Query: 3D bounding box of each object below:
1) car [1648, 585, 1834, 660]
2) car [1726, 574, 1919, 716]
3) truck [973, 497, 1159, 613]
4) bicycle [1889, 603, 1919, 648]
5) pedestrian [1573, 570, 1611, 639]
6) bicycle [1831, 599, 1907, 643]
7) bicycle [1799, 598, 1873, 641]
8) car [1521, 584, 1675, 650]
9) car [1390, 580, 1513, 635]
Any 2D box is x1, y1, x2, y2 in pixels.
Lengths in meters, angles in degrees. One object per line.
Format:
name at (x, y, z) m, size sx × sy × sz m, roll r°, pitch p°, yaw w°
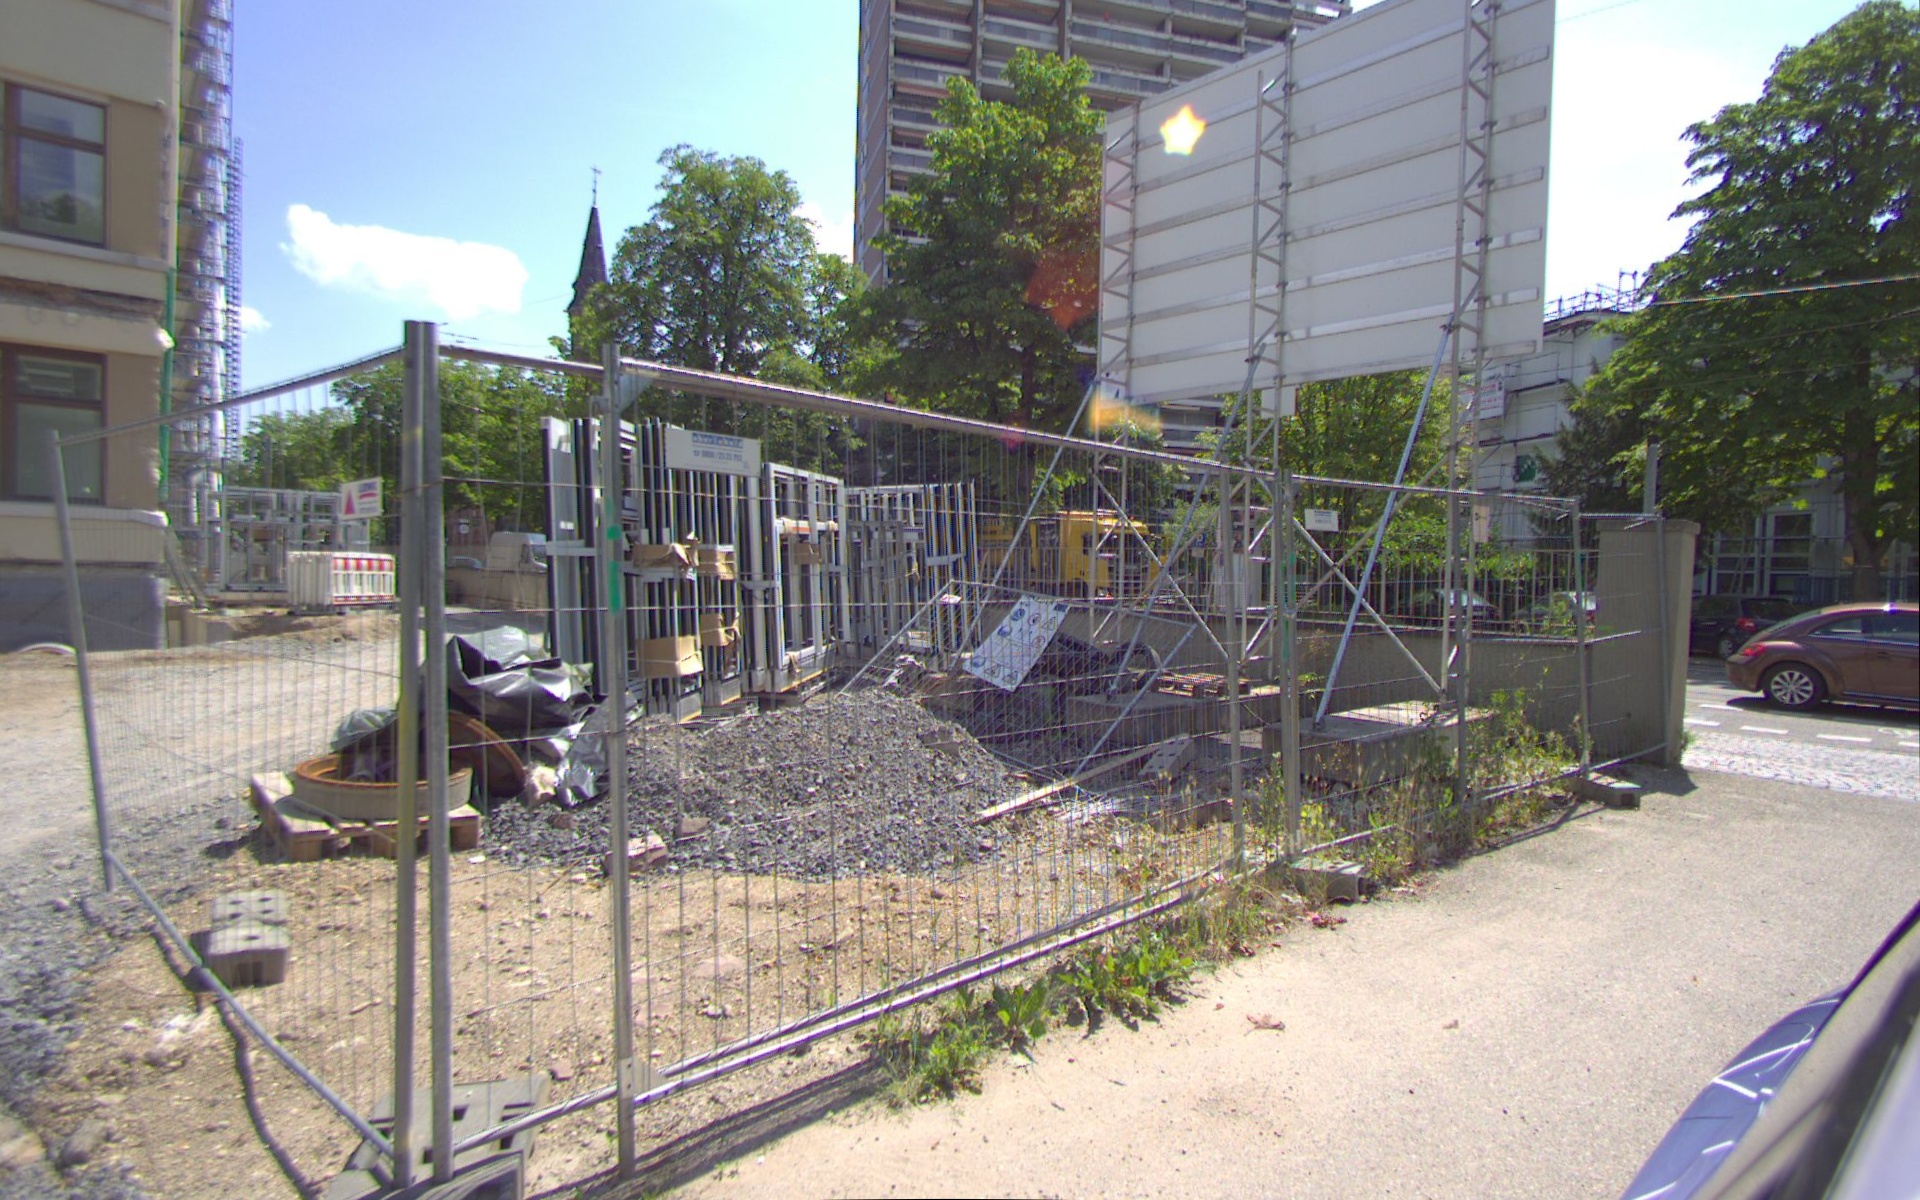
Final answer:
car at (18.283, 0.468, 23.903) m, size 1.619 × 1.535 × 3.575 m, roll 2°, pitch 1°, yaw 2°
car at (12.746, 0.566, 13.256) m, size 1.965 × 1.709 × 3.995 m, roll -2°, pitch 3°, yaw -41°
truck at (3.869, -1.739, 40.290) m, size 2.694 × 4.055 × 9.764 m, roll 1°, pitch 2°, yaw -25°
bicycle at (25.632, 0.688, 26.694) m, size 1.903 × 1.144 × 0.570 m, roll 2°, pitch 1°, yaw -10°
pedestrian at (17.767, 0.127, 28.461) m, size 0.701 × 1.898 × 0.578 m, roll 1°, pitch 1°, yaw -28°
bicycle at (25.309, 0.585, 28.182) m, size 1.887 × 1.144 × 0.570 m, roll 2°, pitch 1°, yaw -13°
bicycle at (25.019, 0.551, 28.910) m, size 1.887 × 1.144 × 0.570 m, roll 2°, pitch 1°, yaw -13°
car at (16.274, 0.366, 26.079) m, size 1.789 × 1.481 × 4.014 m, roll 2°, pitch 1°, yaw 8°
car at (13.847, 0.150, 28.773) m, size 1.600 × 1.390 × 4.022 m, roll 2°, pitch 1°, yaw 2°
